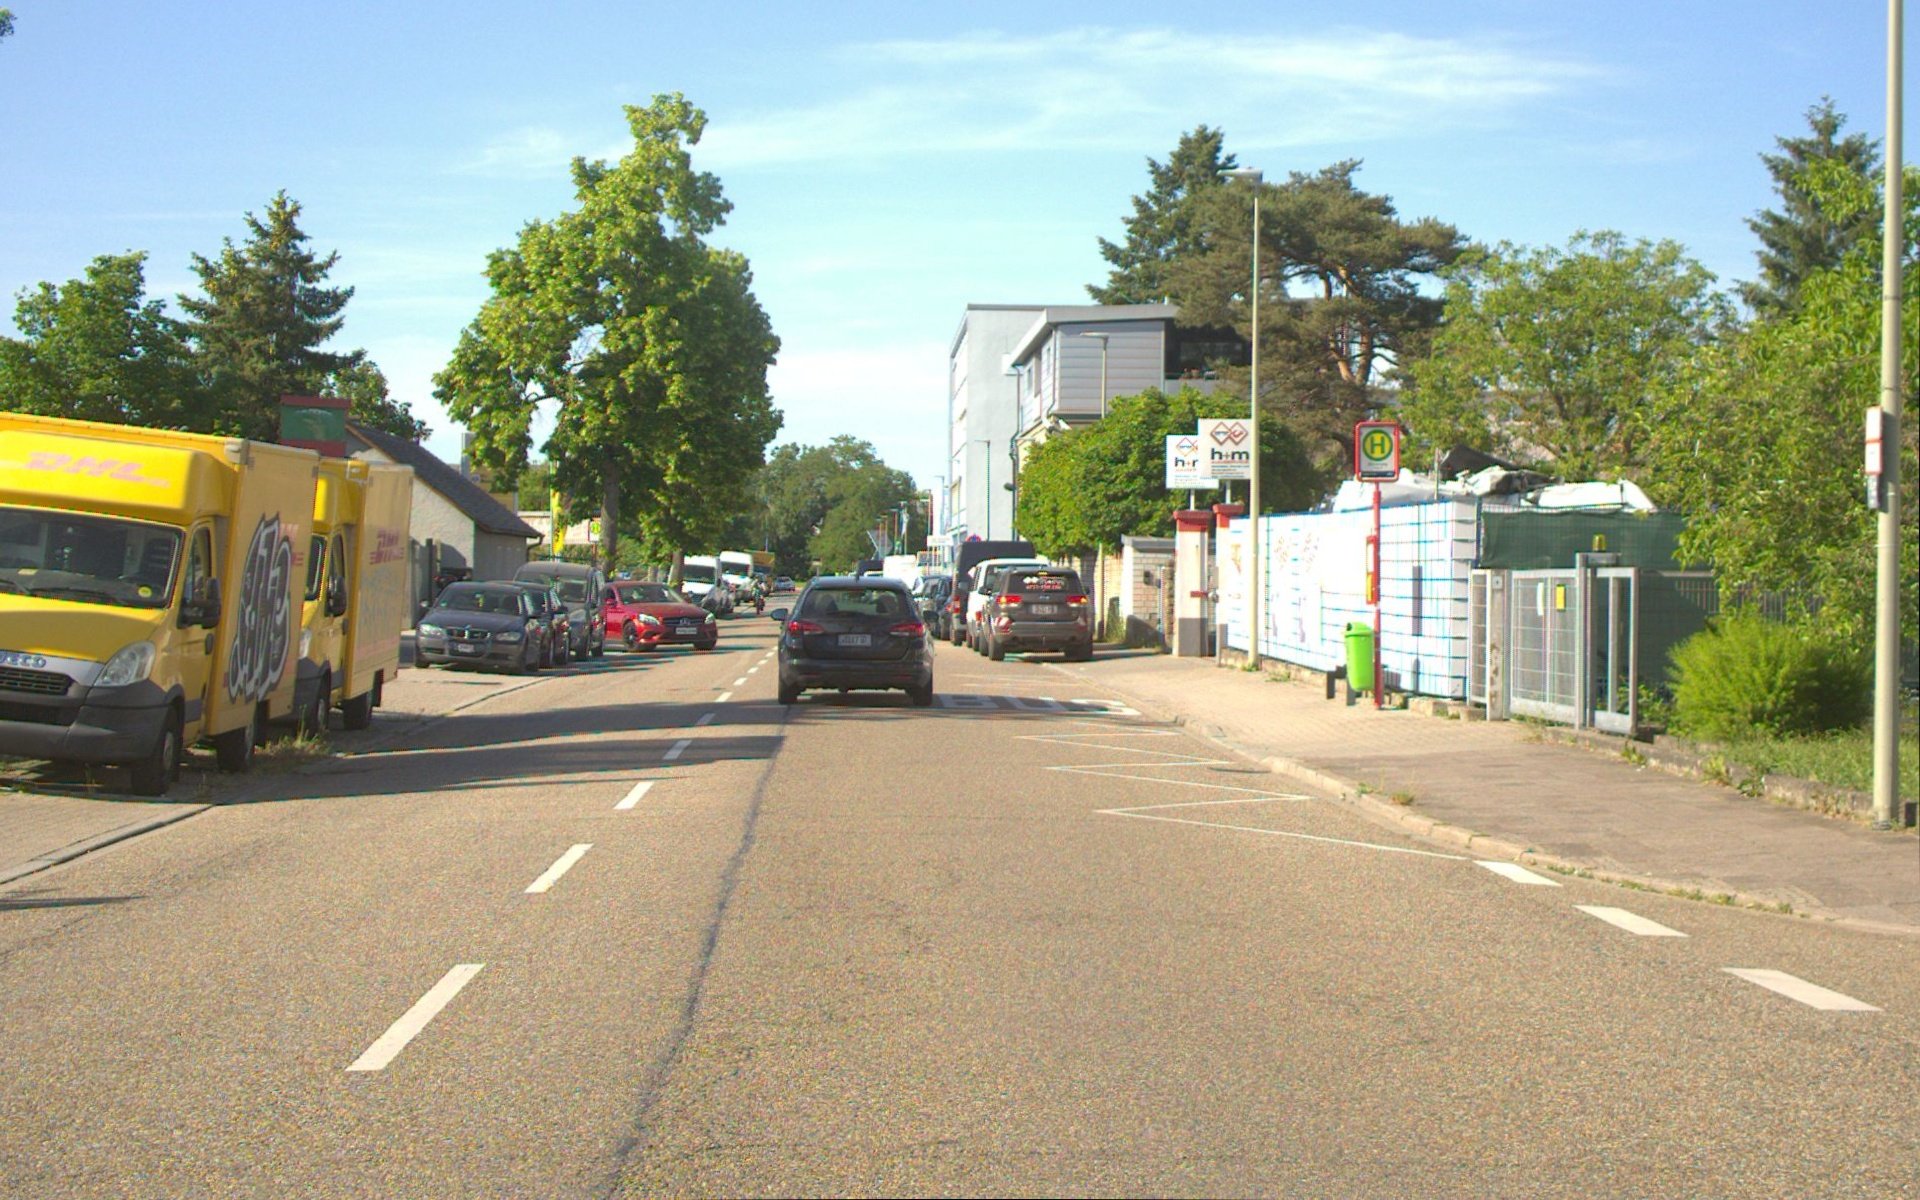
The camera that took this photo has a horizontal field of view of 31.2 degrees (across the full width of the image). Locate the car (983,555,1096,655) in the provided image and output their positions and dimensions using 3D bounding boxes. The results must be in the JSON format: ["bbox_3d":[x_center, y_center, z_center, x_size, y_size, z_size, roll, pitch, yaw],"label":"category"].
[{"bbox_3d":[1.469,0.072,65.233,1.919,1.819,4.080,1,1,-2],"label":"car"}]

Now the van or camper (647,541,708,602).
[{"bbox_3d":[-11.372,-1.169,138.010,2.323,2.354,6.529,1,1,-6],"label":"van or camper"}]

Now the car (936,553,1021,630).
[{"bbox_3d":[0.433,-0.232,84.212,1.919,1.819,4.080,1,1,-2],"label":"car"}]

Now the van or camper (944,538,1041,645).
[{"bbox_3d":[0.690,-0.210,76.884,1.993,2.302,4.000,1,1,-2],"label":"van or camper"}]

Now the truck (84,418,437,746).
[{"bbox_3d":[-6.883,-0.205,34.647,2.192,2.892,6.439,3,1,-1],"label":"truck"}]

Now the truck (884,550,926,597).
[{"bbox_3d":[-2.749,-1.319,170.843,1.993,2.280,6.956,1,1,-2],"label":"truck"}]

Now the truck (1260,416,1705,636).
[{"bbox_3d":[9.317,-1.308,61.750,7.372,3.758,2.833,1,0,-6],"label":"truck"}]

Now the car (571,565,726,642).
[{"bbox_3d":[-6.483,0.047,71.229,1.875,1.480,4.045,-1,1,-26],"label":"car"}]

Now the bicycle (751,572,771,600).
[{"bbox_3d":[-8.352,-0.582,144.157,0.829,1.149,2.941,1,1,-3],"label":"bicycle"}]

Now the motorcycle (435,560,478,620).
[{"bbox_3d":[-12.234,-0.250,83.607,0.777,1.440,2.038,1,1,-1],"label":"motorcycle"}]

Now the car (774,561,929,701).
[{"bbox_3d":[-1.225,0.328,40.012,1.711,1.527,3.688,0,1,-1],"label":"car"}]

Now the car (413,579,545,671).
[{"bbox_3d":[-7.795,0.376,56.033,1.756,1.398,4.558,1,1,-3],"label":"car"}]

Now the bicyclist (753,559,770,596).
[{"bbox_3d":[-8.332,-0.947,144.088,0.695,1.534,0.635,1,0,-4],"label":"bicyclist"}]

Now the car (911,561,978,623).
[{"bbox_3d":[-0.485,-0.265,104.154,1.919,1.819,4.080,1,1,-2],"label":"car"}]

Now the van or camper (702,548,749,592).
[{"bbox_3d":[-12.803,-1.633,187.377,2.323,2.354,6.529,1,1,-6],"label":"van or camper"}]

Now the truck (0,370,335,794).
[{"bbox_3d":[-6.803,-0.179,27.702,2.402,2.973,6.374,2,0,-1],"label":"truck"}]

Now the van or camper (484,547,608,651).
[{"bbox_3d":[-7.873,-0.021,65.706,1.890,1.919,4.266,0,0,-1],"label":"van or camper"}]

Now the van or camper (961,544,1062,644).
[{"bbox_3d":[1.053,-0.144,71.922,1.919,2.012,4.080,1,1,-2],"label":"van or camper"}]
